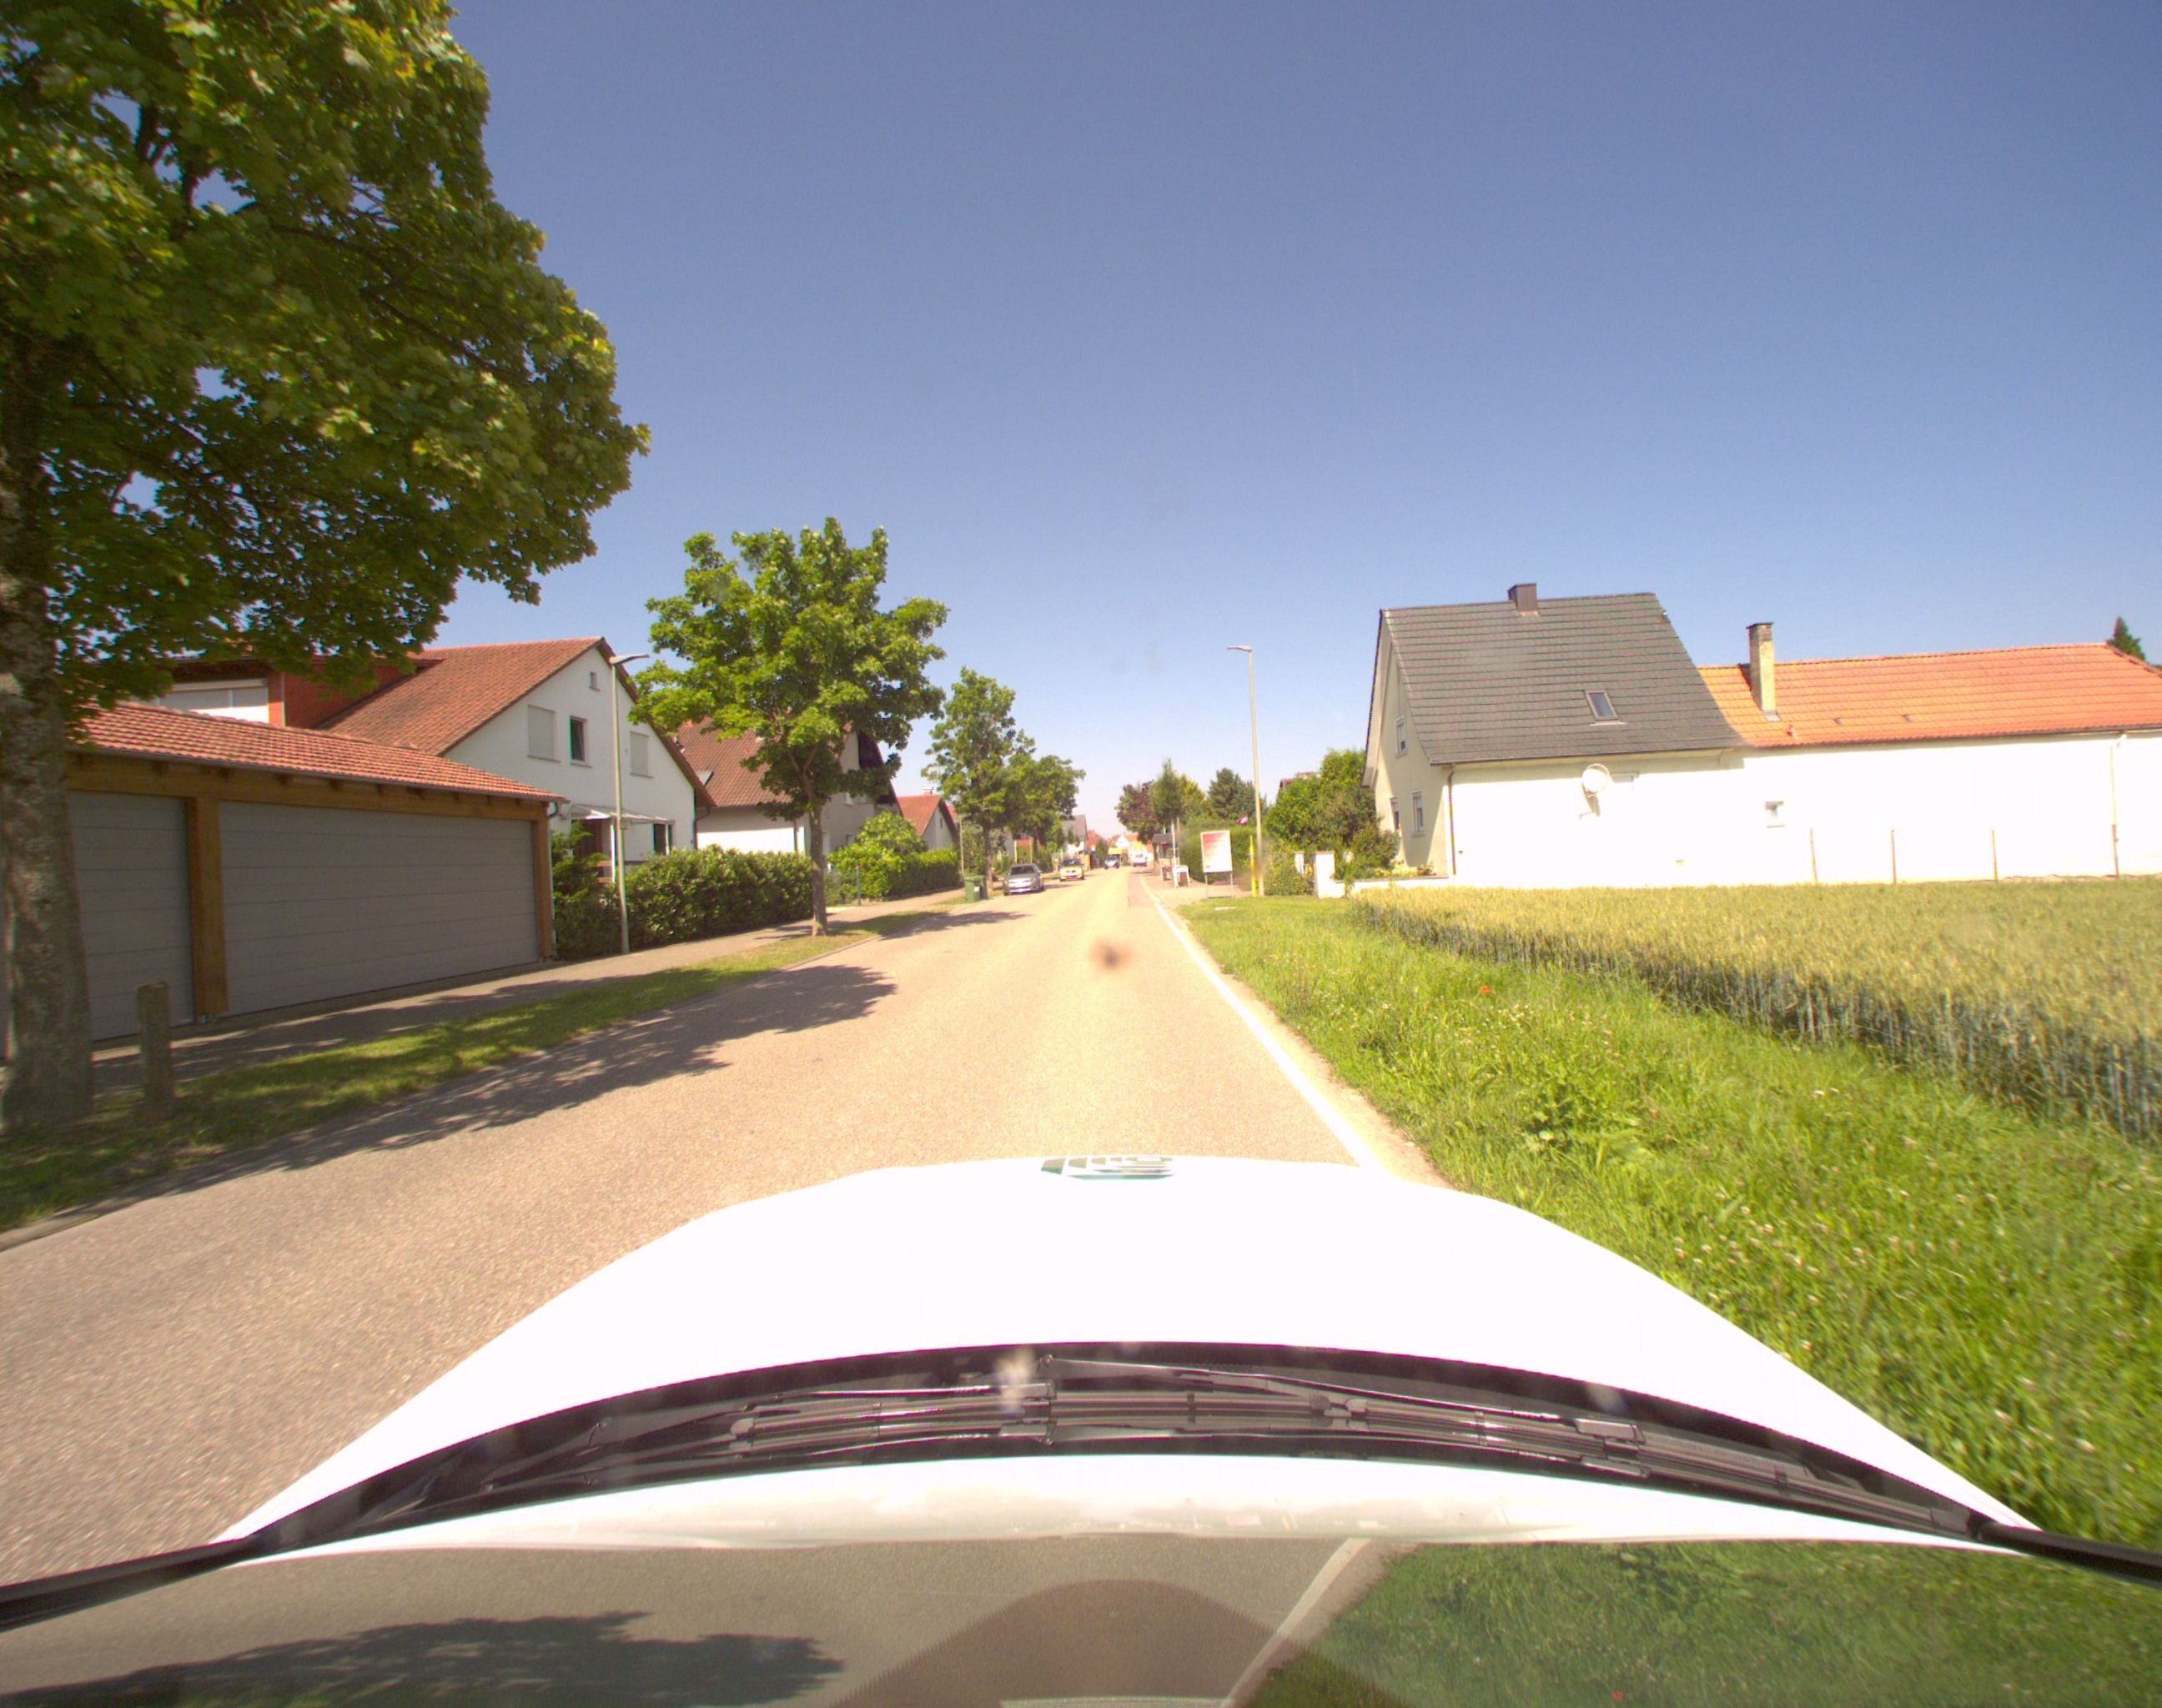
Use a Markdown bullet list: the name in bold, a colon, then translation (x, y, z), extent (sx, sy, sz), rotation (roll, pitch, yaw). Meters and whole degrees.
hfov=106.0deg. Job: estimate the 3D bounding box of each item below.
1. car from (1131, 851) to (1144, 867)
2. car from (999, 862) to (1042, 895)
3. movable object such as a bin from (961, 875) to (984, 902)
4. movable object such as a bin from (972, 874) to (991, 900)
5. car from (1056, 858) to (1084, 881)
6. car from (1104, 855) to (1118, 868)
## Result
- **car**: translation (9.198, 0.786, 132.538), extent (1.729, 2.432, 4.381), rotation (-3, -1, 6)
- **car**: translation (-2.941, 1.164, 40.209), extent (1.641, 1.423, 4.080), rotation (-5, -1, 1)
- **movable object such as a bin**: translation (-4.646, 1.472, 34.862), extent (0.706, 1.079, 0.643), rotation (-3, -1, 28)
- **movable object such as a bin**: translation (-4.340, 1.436, 35.482), extent (0.570, 1.079, 0.601), rotation (-3, -1, 16)
- **car**: translation (-0.781, 1.075, 58.388), extent (1.659, 1.524, 3.445), rotation (-4, -1, 3)
- **car**: translation (4.146, 1.008, 113.838), extent (1.829, 1.753, 3.796), rotation (-3, 0, 1)
